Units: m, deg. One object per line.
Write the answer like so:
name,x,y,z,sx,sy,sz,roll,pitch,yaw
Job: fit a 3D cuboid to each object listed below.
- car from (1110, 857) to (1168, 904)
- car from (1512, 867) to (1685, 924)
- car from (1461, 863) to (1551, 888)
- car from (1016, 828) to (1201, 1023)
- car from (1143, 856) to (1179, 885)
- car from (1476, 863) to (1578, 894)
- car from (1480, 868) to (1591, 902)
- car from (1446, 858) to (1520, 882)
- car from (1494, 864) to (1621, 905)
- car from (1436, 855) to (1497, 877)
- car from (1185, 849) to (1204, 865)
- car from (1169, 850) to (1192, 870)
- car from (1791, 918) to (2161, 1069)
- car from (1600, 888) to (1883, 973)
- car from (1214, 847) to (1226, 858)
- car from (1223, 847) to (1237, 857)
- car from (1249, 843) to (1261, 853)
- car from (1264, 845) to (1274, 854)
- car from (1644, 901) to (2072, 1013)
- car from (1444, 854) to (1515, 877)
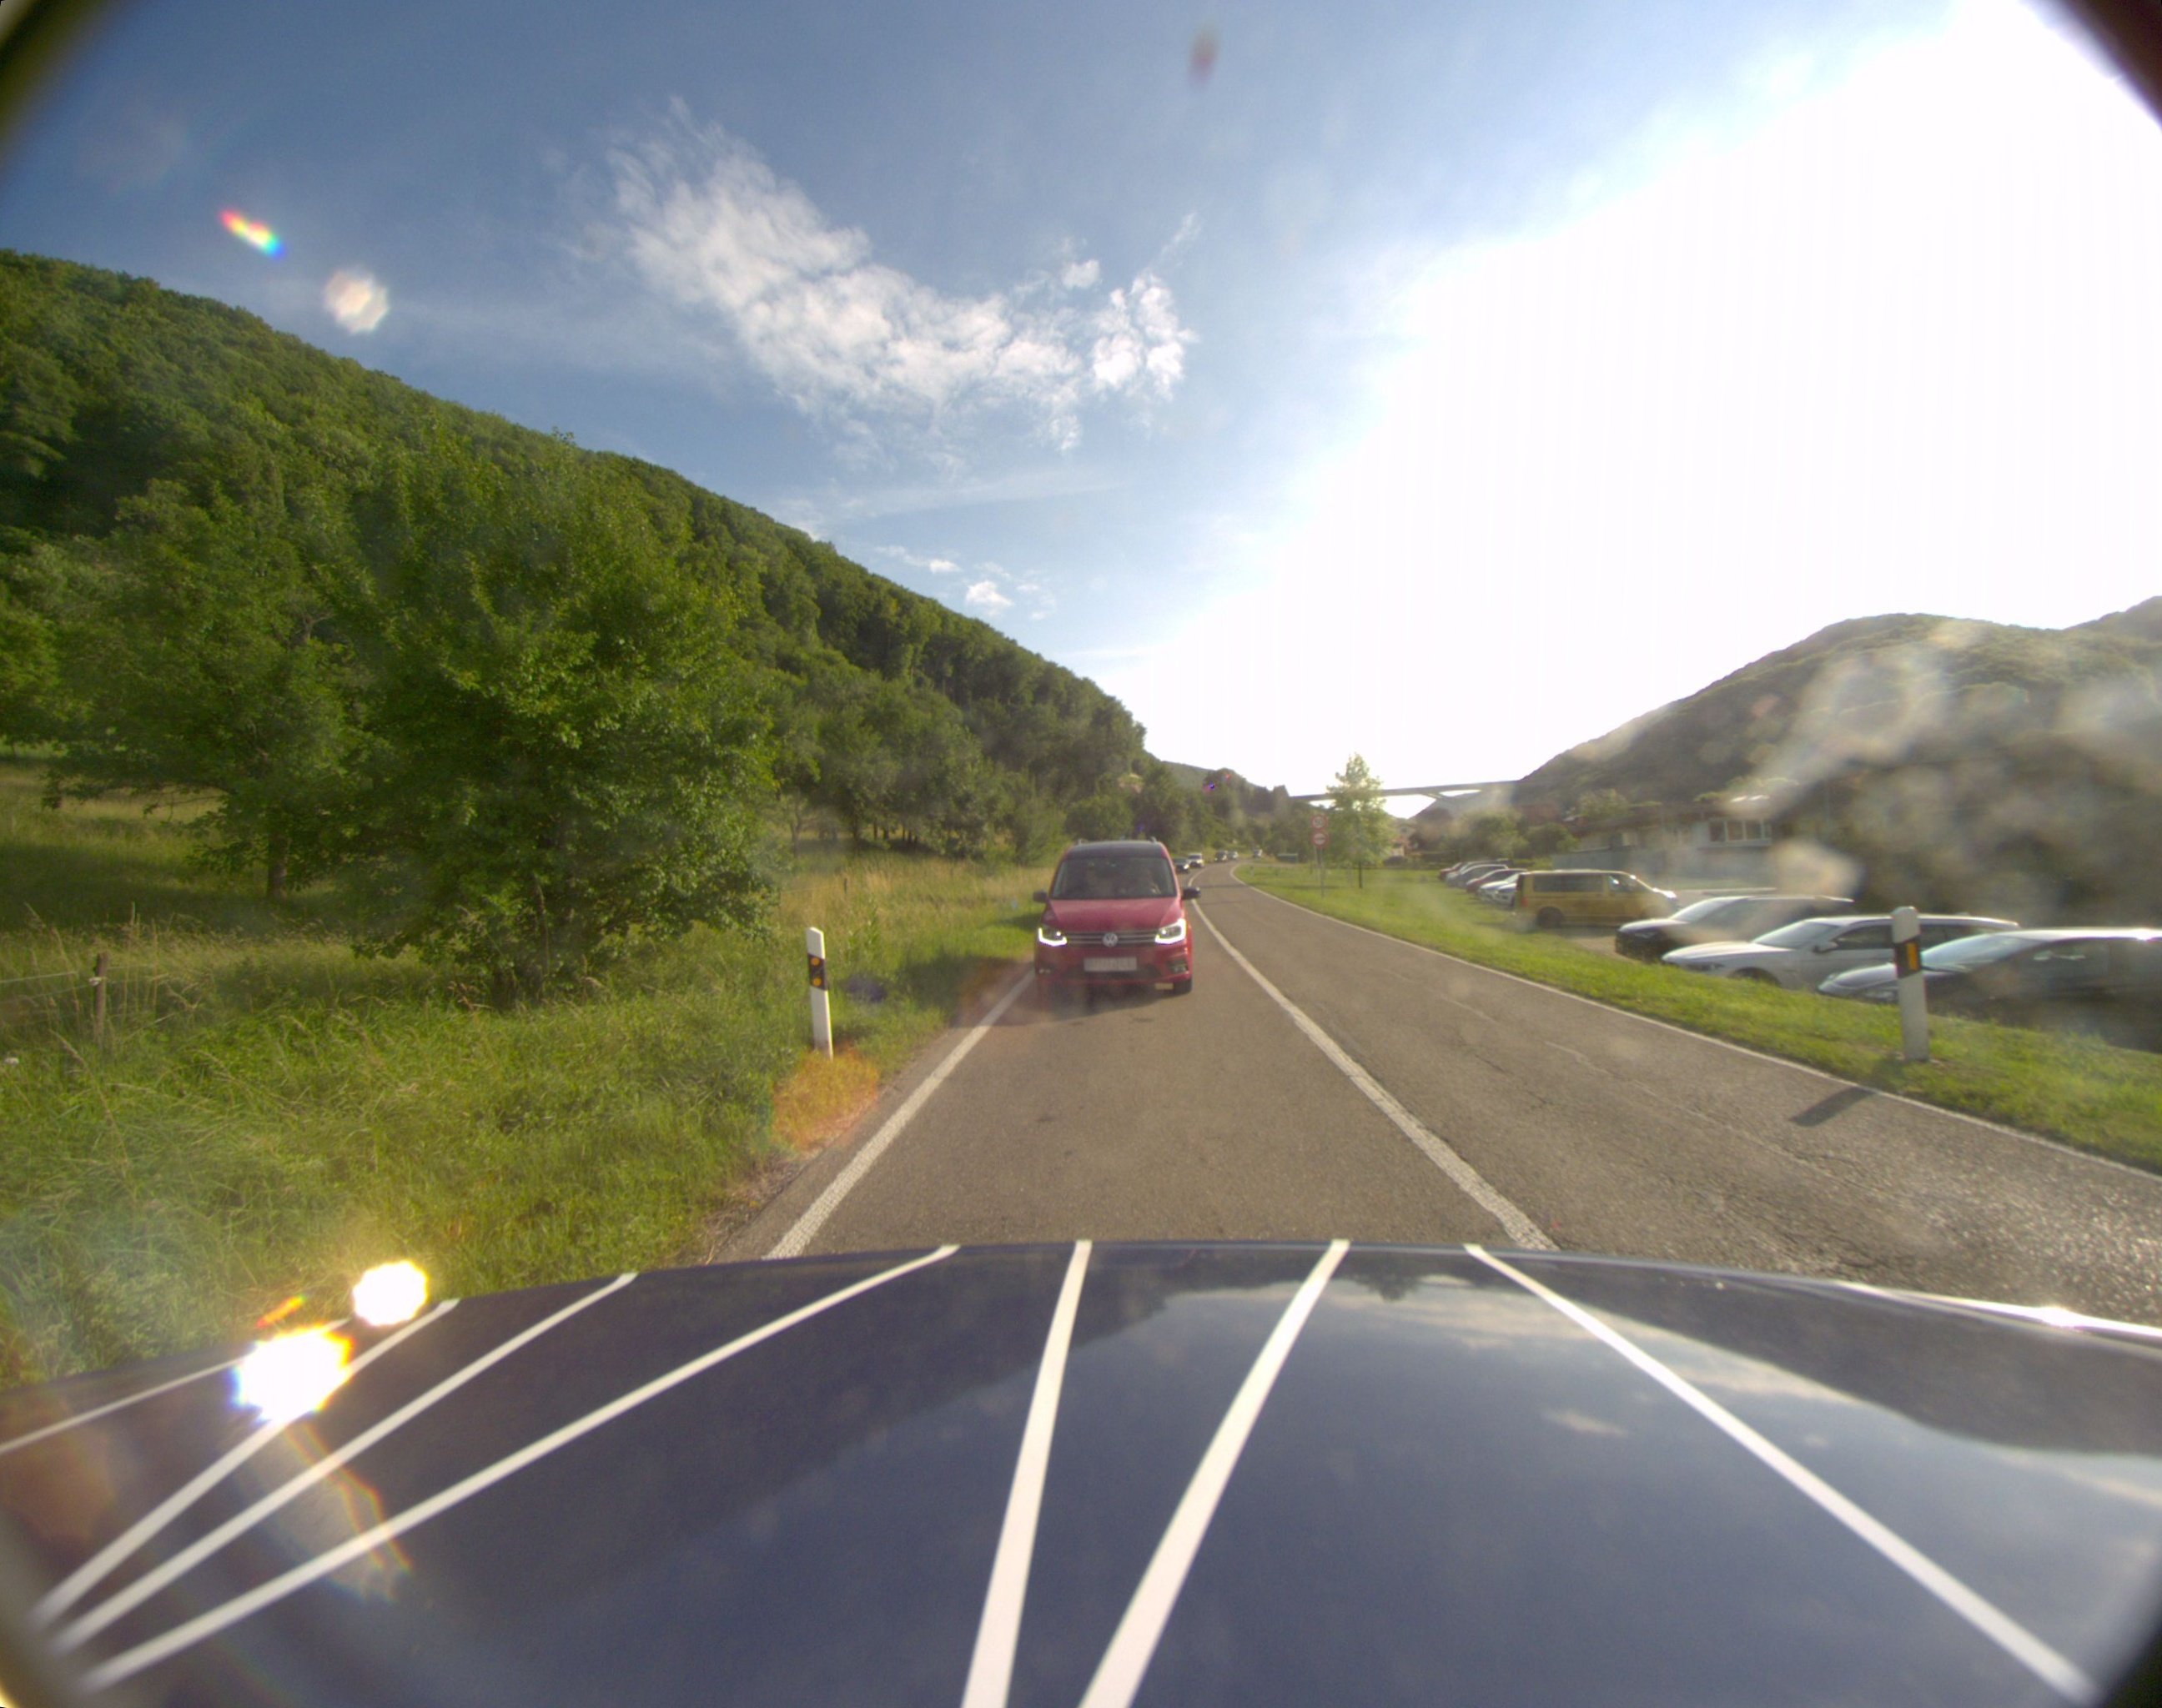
car,2.006,0.867,26.515,1.798,1.464,4.285,-2,-1,4
car,17.736,1.402,26.356,4.652,1.802,2.003,-1,0,23
car,25.191,1.278,45.221,4.436,1.443,2.003,-1,0,23
car,0.413,0.720,9.561,1.746,1.848,4.350,-2,-1,4
car,4.380,0.887,42.123,1.798,1.464,4.285,-2,-1,4
car,23.617,1.291,40.427,4.436,1.573,2.003,-1,0,21
car,22.230,1.495,37.348,4.436,1.577,2.003,-1,0,23
car,28.845,1.164,54.675,4.437,1.573,2.003,-2,0,22
car,21.158,1.332,34.005,4.544,1.691,2.003,-1,0,23
car,32.484,1.007,64.119,4.436,1.709,2.003,-1,0,22
car,13.295,0.355,89.399,1.798,1.725,4.285,-2,-1,4
car,8.869,0.536,67.719,1.911,1.675,4.003,-2,-1,9
car,12.079,1.692,9.719,3.991,1.526,1.836,-1,0,22
car,14.333,1.675,16.826,4.288,1.628,1.915,-3,-1,18
car,21.956,-0.163,120.239,1.677,1.637,3.349,-2,-1,12
car,26.574,-0.370,135.617,1.996,1.706,4.005,-2,-1,17
car,37.444,-1.267,163.516,1.908,1.893,4.005,-2,1,21
car,43.441,-1.073,175.580,1.909,1.893,4.005,-2,1,19
car,12.547,1.604,12.717,4.644,1.488,1.915,-1,0,19
car,30.898,0.907,59.027,4.664,1.752,2.003,-1,0,22
